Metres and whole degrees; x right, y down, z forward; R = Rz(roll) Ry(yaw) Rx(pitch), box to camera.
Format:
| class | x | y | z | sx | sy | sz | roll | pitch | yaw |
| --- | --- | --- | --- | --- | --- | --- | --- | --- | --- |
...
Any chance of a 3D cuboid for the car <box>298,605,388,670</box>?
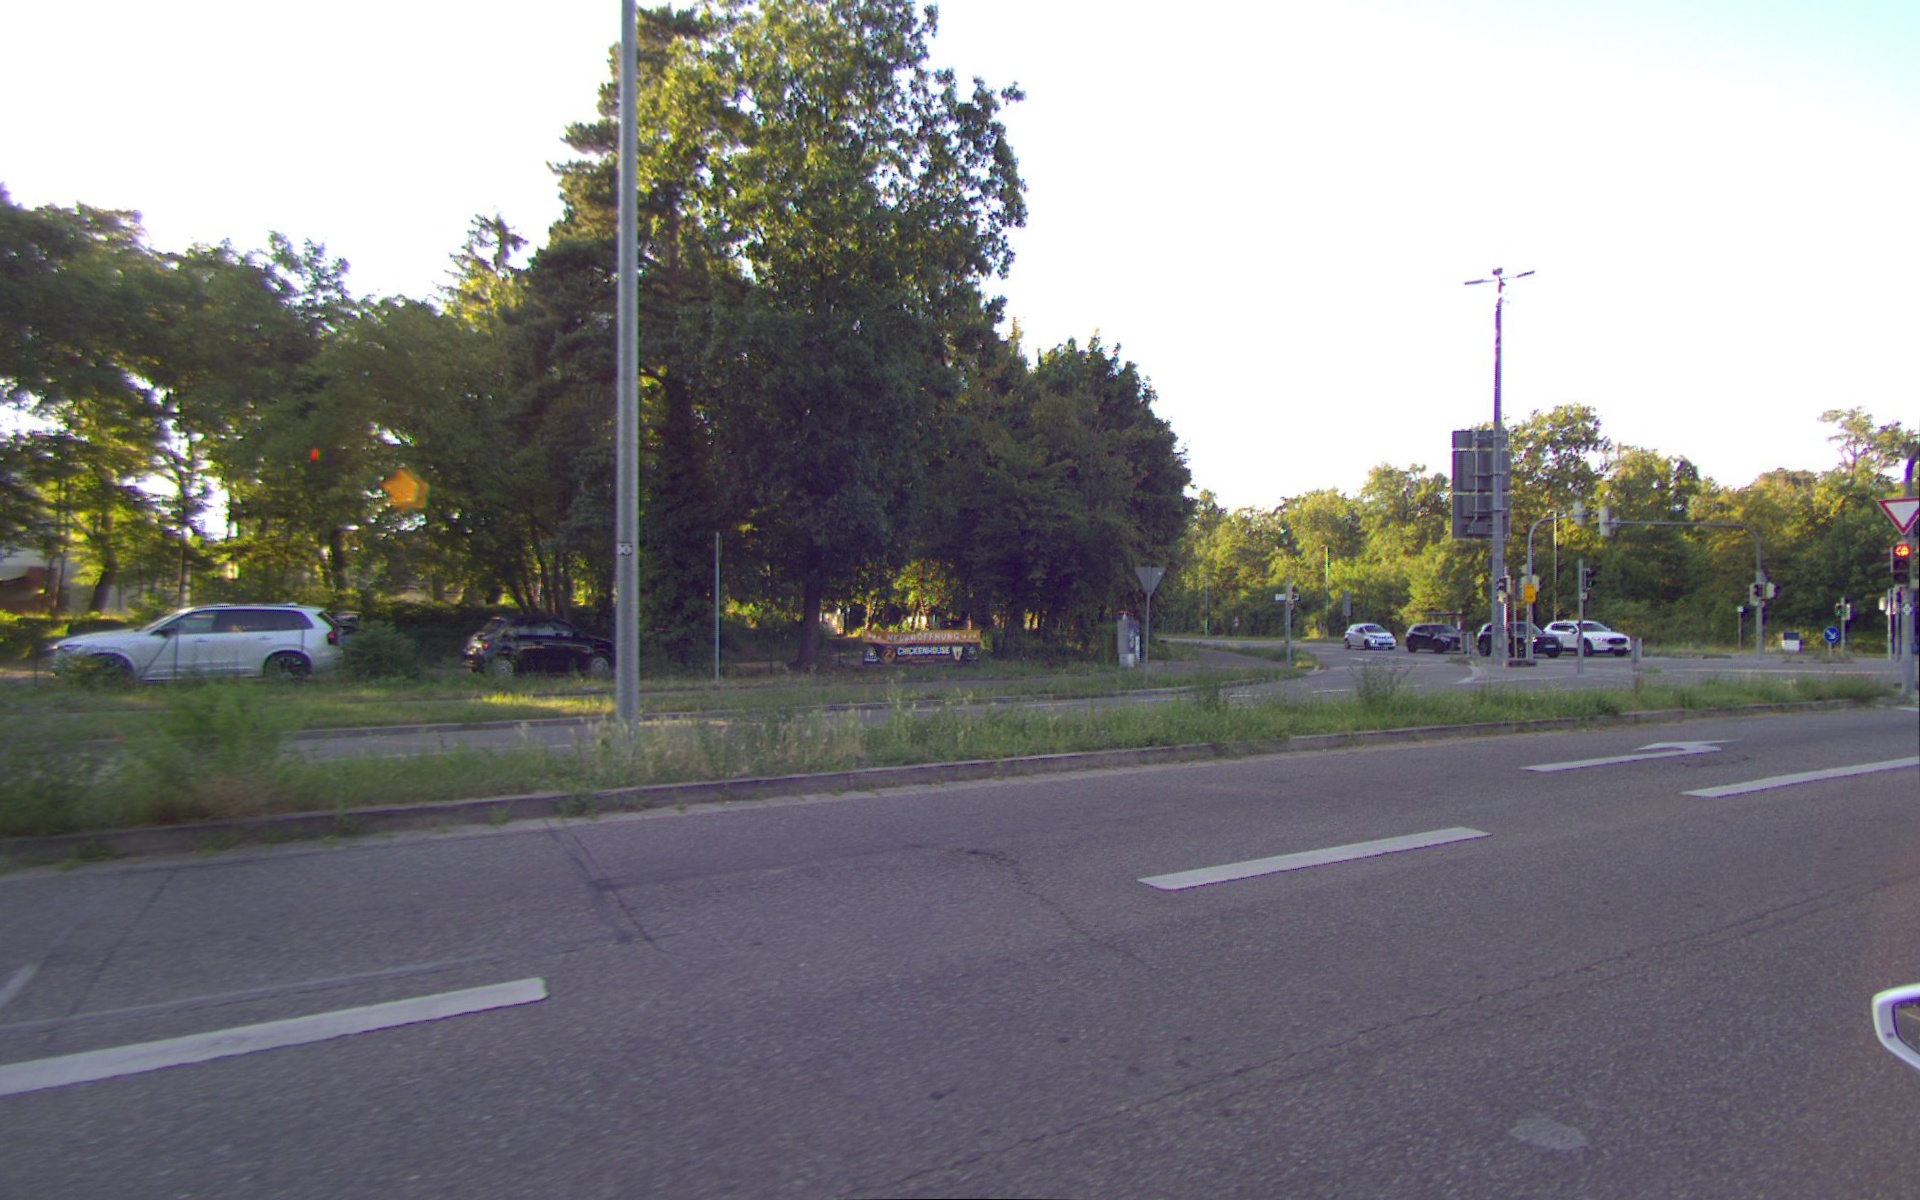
| class | x | y | z | sx | sy | sz | roll | pitch | yaw |
| --- | --- | --- | --- | --- | --- | --- | --- | --- | --- |
| car | -17.337 | 1.011 | 28.145 | 1.900 | 1.673 | 3.961 | 1 | -1 | -35 |

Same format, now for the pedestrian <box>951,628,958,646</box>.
| class | x | y | z | sx | sy | sz | roll | pitch | yaw |
| --- | --- | --- | --- | --- | --- | --- | --- | --- | --- |
| pedestrian | -0.298 | 1.954 | 52.887 | 0.316 | 0.931 | 0.375 | 0 | -1 | -10 |

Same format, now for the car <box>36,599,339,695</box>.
| class | x | y | z | sx | sy | sz | roll | pitch | yaw |
| --- | --- | --- | --- | --- | --- | --- | --- | --- | --- |
| car | -16.056 | 0.950 | 21.290 | 4.870 | 1.810 | 1.982 | 1 | -2 | -33 |

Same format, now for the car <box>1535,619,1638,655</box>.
| class | x | y | z | sx | sy | sz | roll | pitch | yaw |
| --- | --- | --- | --- | --- | --- | --- | --- | --- | --- |
| car | 29.735 | 1.727 | 47.862 | 1.962 | 1.661 | 4.254 | 0 | -1 | -6 |

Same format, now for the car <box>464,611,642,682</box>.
| class | x | y | z | sx | sy | sz | roll | pitch | yaw |
| --- | --- | --- | --- | --- | --- | --- | --- | --- | --- |
| car | -10.013 | 1.113 | 24.791 | 3.776 | 1.618 | 1.843 | 1 | -2 | -34 |

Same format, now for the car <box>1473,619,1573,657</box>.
| class | x | y | z | sx | sy | sz | roll | pitch | yaw |
| --- | --- | --- | --- | --- | --- | --- | --- | --- | --- |
| car | 26.008 | 1.737 | 46.570 | 1.962 | 1.661 | 4.254 | 0 | -1 | -6 |

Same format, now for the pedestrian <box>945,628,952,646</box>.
| class | x | y | z | sx | sy | sz | roll | pitch | yaw |
| --- | --- | --- | --- | --- | --- | --- | --- | --- | --- |
| pedestrian | -0.619 | 1.938 | 52.823 | 0.316 | 0.937 | 0.375 | 0 | -1 | -10 |

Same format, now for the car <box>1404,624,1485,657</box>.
| class | x | y | z | sx | sy | sz | roll | pitch | yaw |
| --- | --- | --- | --- | --- | --- | --- | --- | --- | --- |
| car | 25.921 | 2.134 | 53.927 | 1.962 | 1.661 | 4.254 | 0 | -1 | -6 |

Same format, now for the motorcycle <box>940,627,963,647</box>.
| class | x | y | z | sx | sy | sz | roll | pitch | yaw |
| --- | --- | --- | --- | --- | --- | --- | --- | --- | --- |
| motorcycle | -0.430 | 1.932 | 52.855 | 1.156 | 1.031 | 0.383 | 0 | -1 | -11 |

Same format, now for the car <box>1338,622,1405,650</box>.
| class | x | y | z | sx | sy | sz | roll | pitch | yaw |
| --- | --- | --- | --- | --- | --- | --- | --- | --- | --- |
| car | 25.351 | 2.180 | 62.102 | 1.963 | 1.661 | 4.252 | 0 | -1 | -8 |
